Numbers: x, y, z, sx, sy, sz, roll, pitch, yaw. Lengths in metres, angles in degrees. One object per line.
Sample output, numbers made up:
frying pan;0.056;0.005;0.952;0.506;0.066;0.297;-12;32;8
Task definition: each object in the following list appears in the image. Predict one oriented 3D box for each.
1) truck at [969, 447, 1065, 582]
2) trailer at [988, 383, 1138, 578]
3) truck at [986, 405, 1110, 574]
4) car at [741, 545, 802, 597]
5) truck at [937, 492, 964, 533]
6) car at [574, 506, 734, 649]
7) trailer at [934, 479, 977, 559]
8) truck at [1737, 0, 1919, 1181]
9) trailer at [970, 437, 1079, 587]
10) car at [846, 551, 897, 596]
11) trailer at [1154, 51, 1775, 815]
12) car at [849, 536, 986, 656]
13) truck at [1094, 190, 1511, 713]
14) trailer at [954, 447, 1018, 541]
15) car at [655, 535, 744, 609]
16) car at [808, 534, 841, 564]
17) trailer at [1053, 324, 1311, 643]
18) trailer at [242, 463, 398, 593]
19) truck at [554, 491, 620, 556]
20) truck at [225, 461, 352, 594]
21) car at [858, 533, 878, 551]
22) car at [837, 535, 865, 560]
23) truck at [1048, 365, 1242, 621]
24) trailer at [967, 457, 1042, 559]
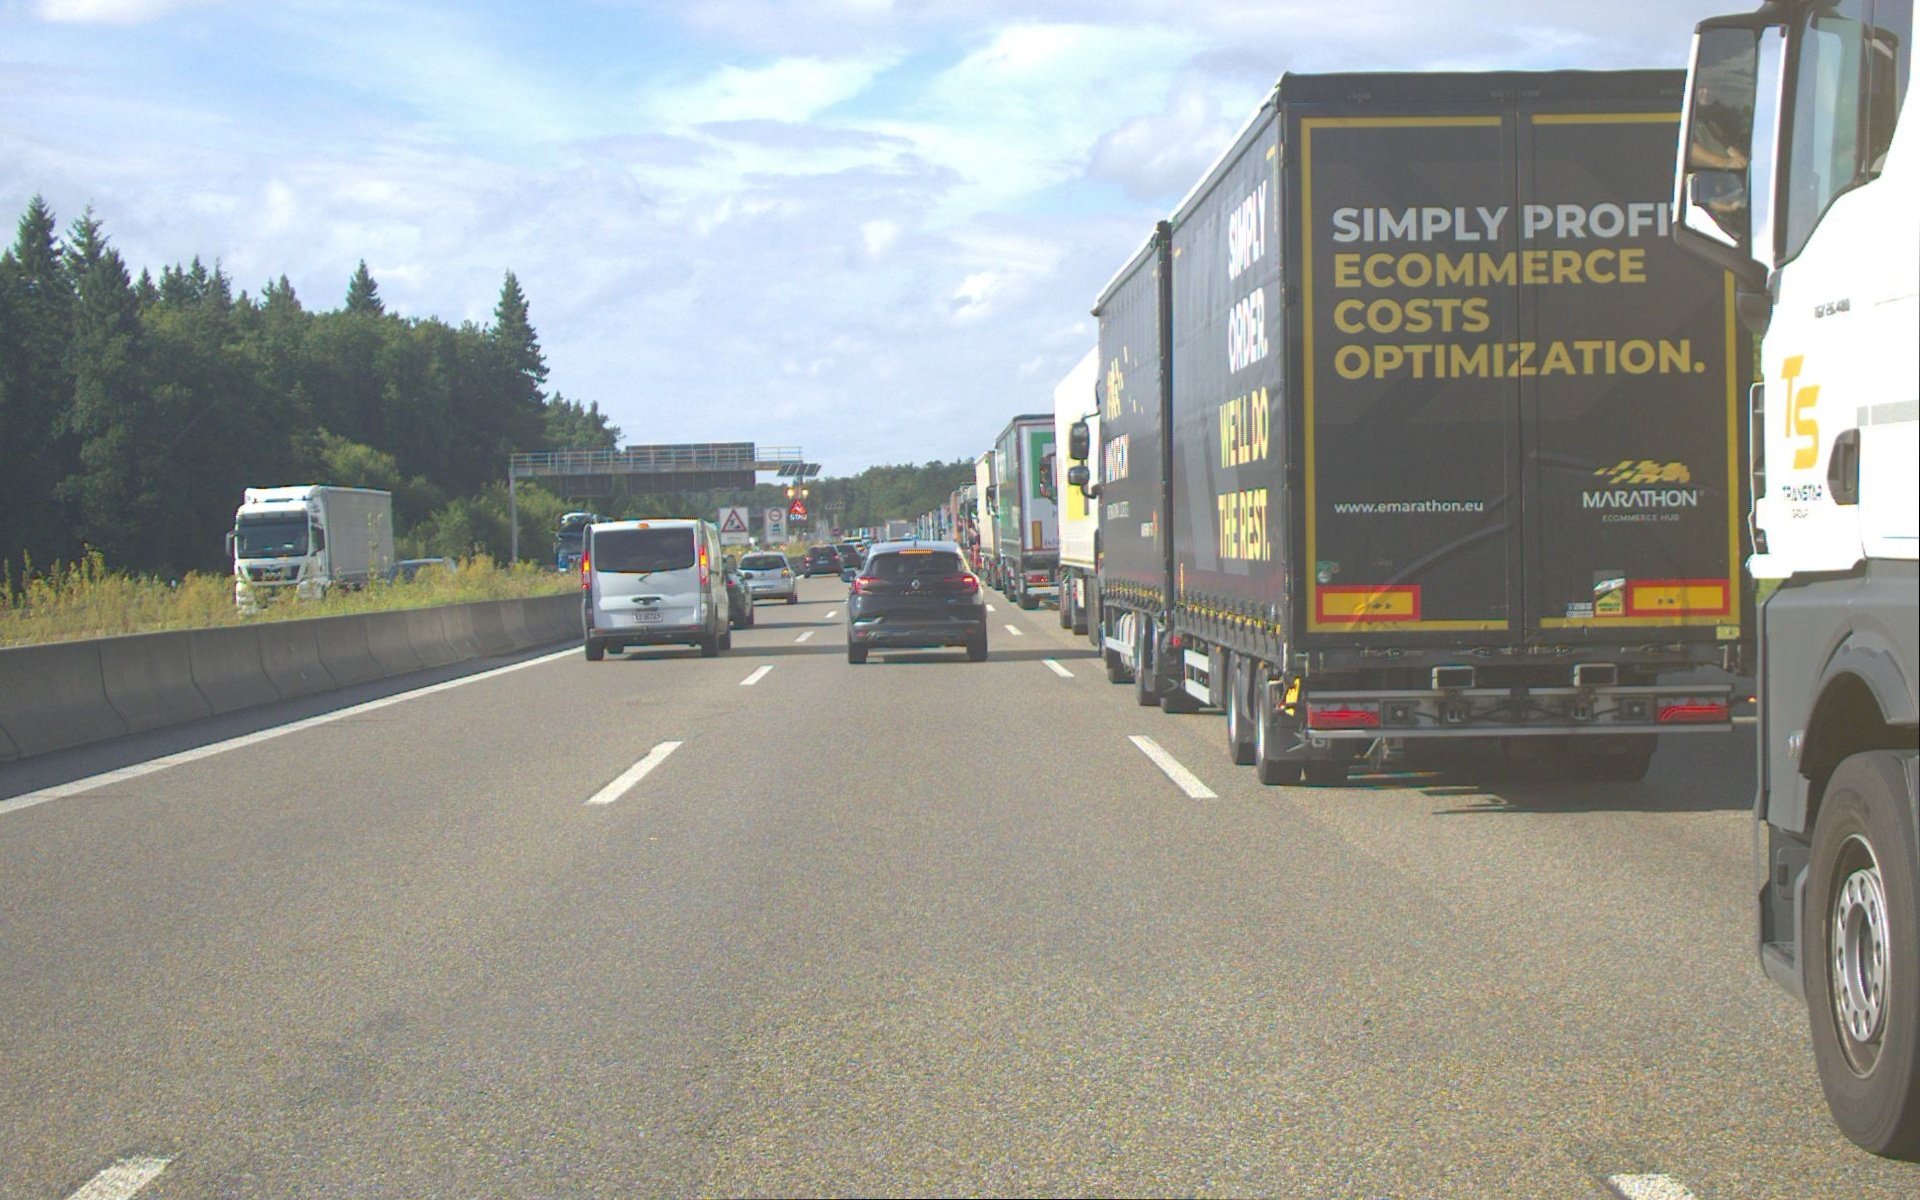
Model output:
truck;1.785;-2.707;110.237;2.708;4.045;6.362;-3;1;0
trailer;2.150;-2.522;76.528;2.661;3.855;13.395;-2;1;0
truck;2.076;-2.627;83.694;2.647;3.855;6.996;-2;1;0
car;-5.133;-0.797;94.056;1.500;1.391;3.476;1;1;-1
truck;-0.680;-6.603;259.430;1.993;3.042;4.982;1;1;0
car;-4.413;-0.355;50.318;1.933;1.972;5.099;1;1;-1
trailer;-0.259;-4.449;190.762;2.150;4.244;8.440;-2;1;0
truck;3.392;-0.666;4.402;2.412;4.054;9.665;1;1;-1
trailer;1.834;-2.600;102.939;2.703;4.067;12.945;-3;1;0
car;-2.826;-0.851;108.917;1.581;1.391;3.208;1;1;-2
trailer;2.868;-0.982;22.269;2.716;3.947;8.712;1;1;0
car;-0.555;-0.078;45.016;1.696;1.478;4.160;1;1;-1
truck;2.852;-1.225;31.759;2.740;4.024;10.203;1;1;0
trailer;1.224;-5.054;165.897;2.802;4.229;11.057;-3;1;0
car;-5.050;-0.553;66.976;1.500;1.391;3.476;1;1;-1
car;-6.175;-2.335;157.186;1.434;1.305;3.534;1;1;-1
trailer;2.950;-1.551;49.456;2.792;3.925;13.070;-1;1;0
trailer;-20.997;-2.340;113.612;2.832;3.978;13.550;-2;1;-1
truck;-22.286;-4.535;205.988;2.831;3.676;11.133;-2;1;-1
truck;-20.839;-2.237;106.942;2.819;3.962;5.834;-2;1;-1
car;-6.598;-4.177;246.654;1.361;1.296;3.085;1;1;-1
car;-5.808;-2.828;183.617;1.434;1.305;3.534;1;1;-1
truck;2.957;-1.706;56.455;2.802;3.925;5.826;-1;1;0
trailer;1.654;-3.449;131.756;2.541;3.641;10.627;-3;1;0
